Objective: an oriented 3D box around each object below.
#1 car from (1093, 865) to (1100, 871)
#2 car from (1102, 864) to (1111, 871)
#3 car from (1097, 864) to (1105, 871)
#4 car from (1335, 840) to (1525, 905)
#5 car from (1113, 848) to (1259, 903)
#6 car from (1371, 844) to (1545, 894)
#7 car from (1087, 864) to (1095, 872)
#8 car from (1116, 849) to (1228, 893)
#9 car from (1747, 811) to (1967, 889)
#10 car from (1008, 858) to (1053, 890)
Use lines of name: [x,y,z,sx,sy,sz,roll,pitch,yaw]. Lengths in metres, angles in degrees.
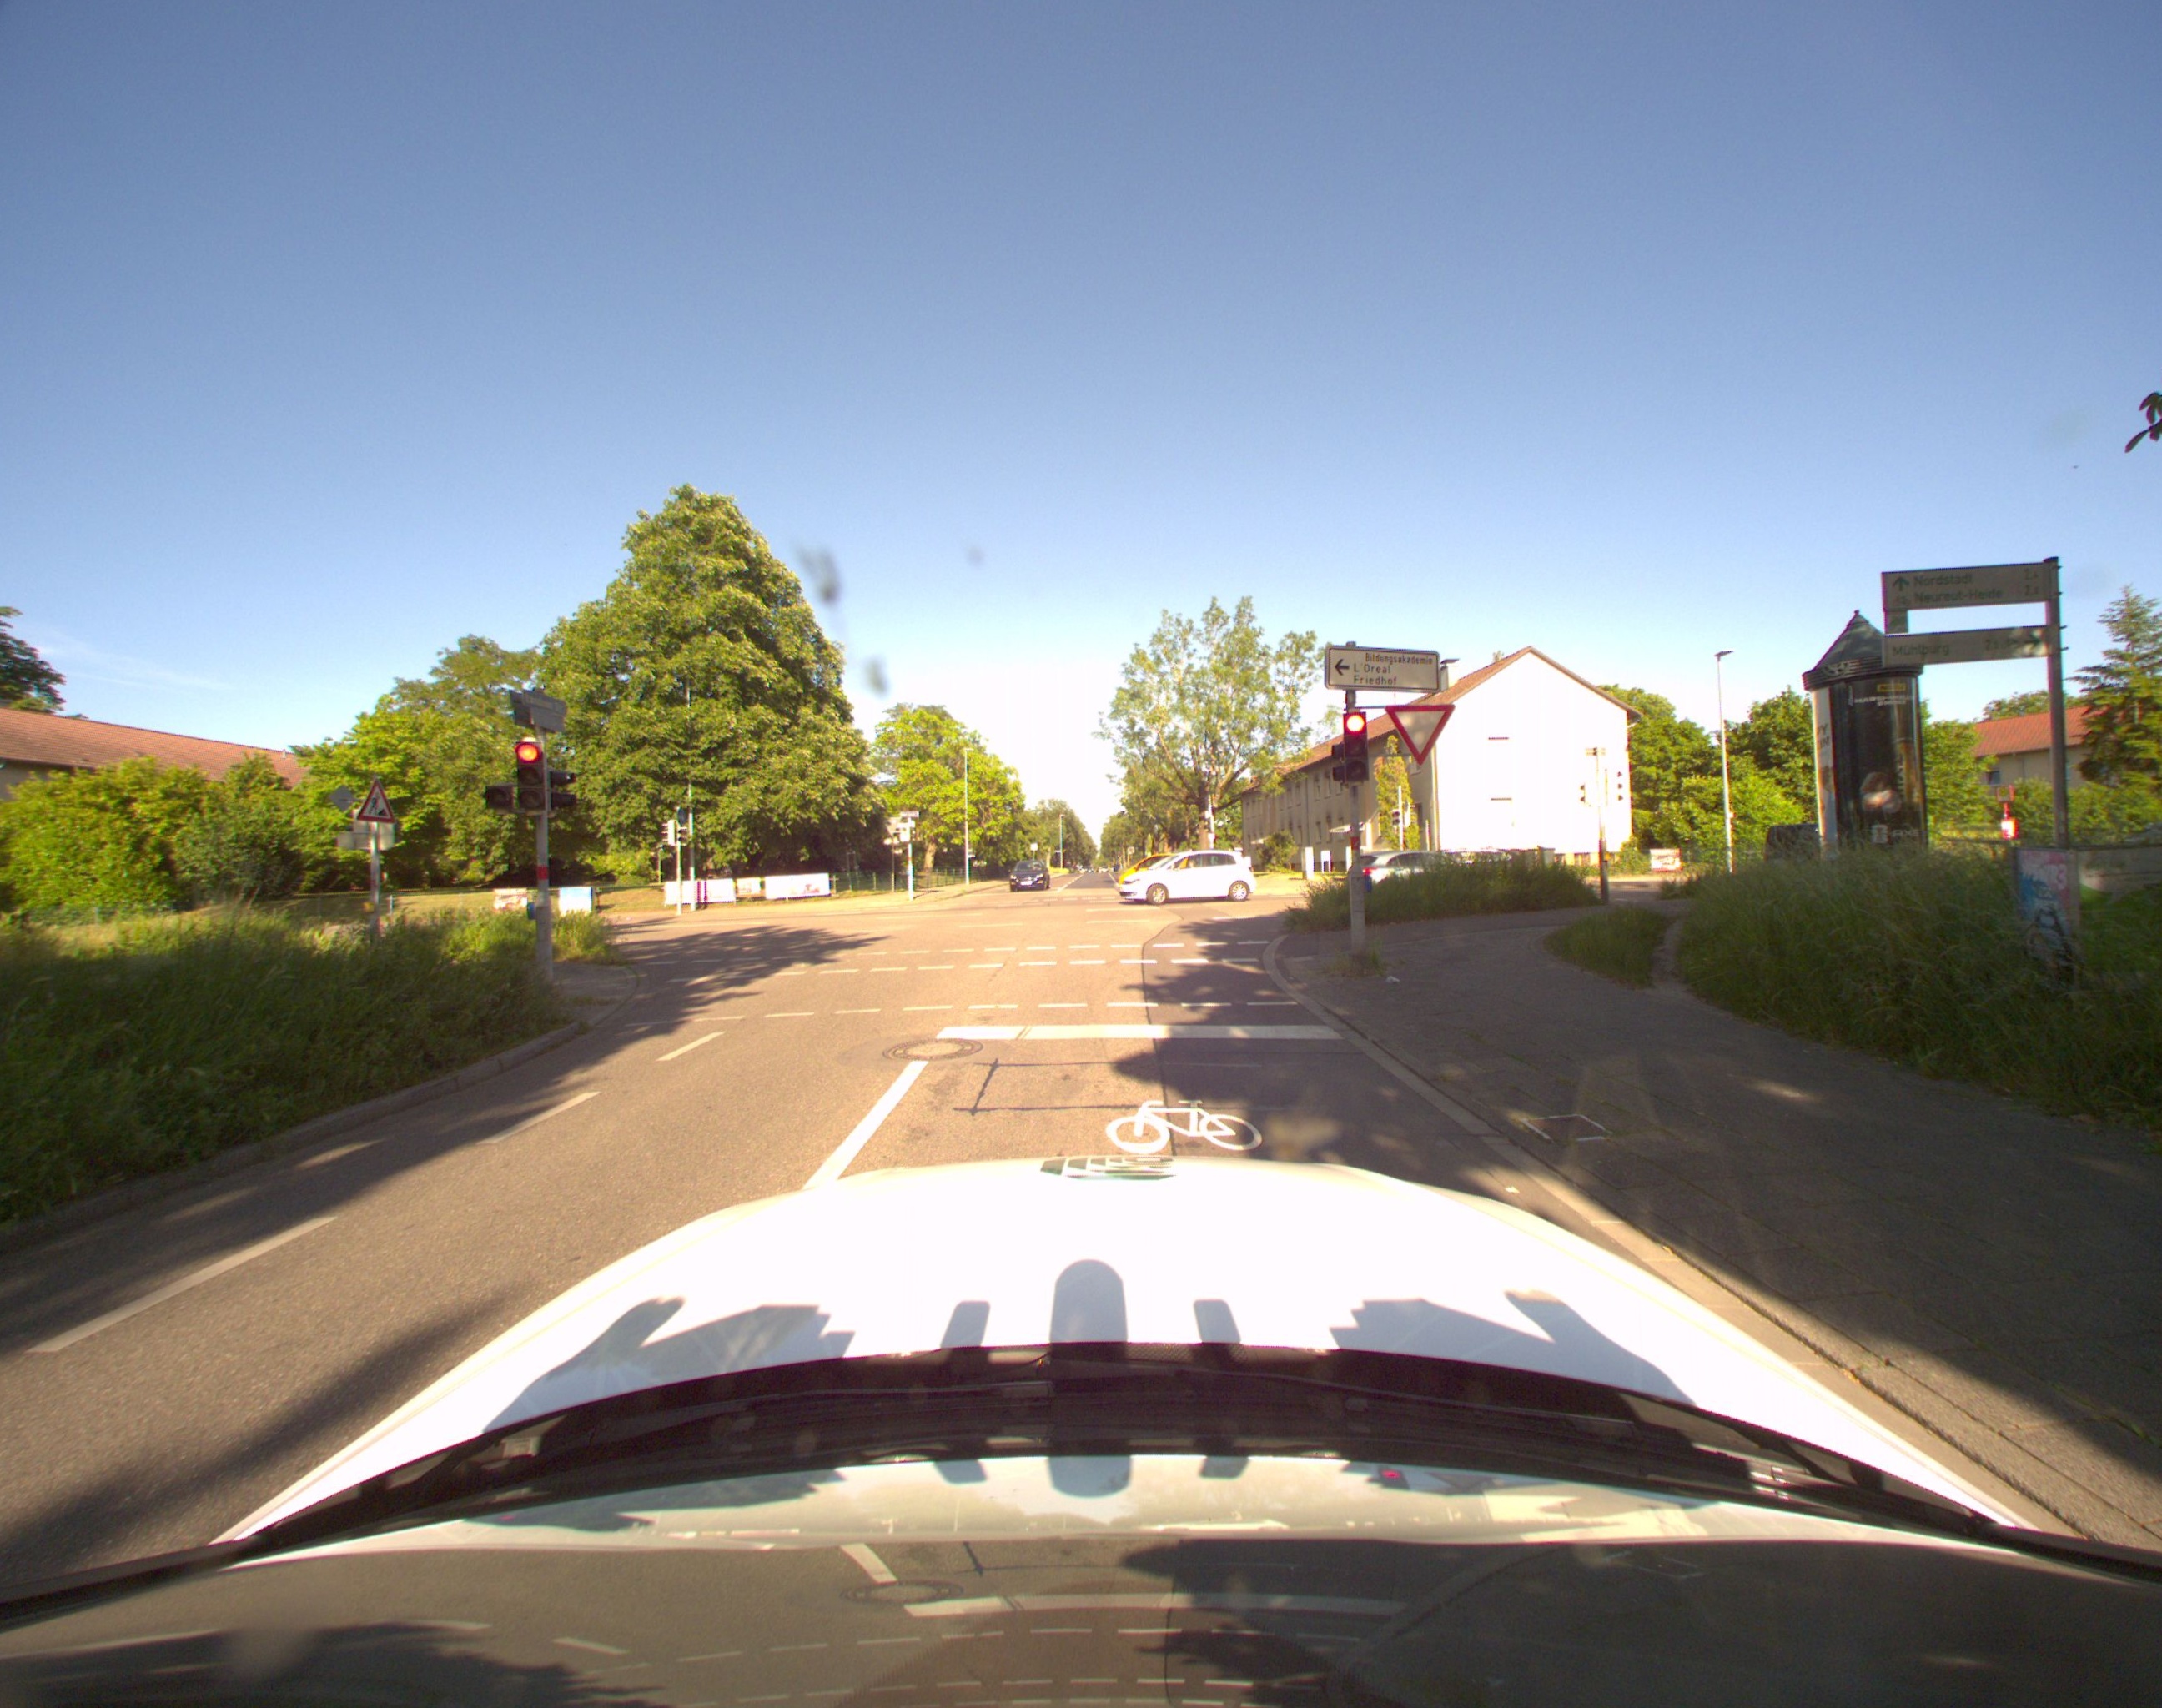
car: [4.453,3.996,228.080,1.751,1.624,3.271,-2,0,3]
car: [5.532,2.963,178.439,1.838,1.461,3.531,-2,0,1]
car: [5.046,3.477,206.750,1.751,1.624,3.271,-2,0,3]
car: [9.292,0.483,21.935,4.270,1.489,1.913,-2,0,-1]
car: [3.170,0.633,24.896,4.108,1.563,1.751,0,-1,-11]
car: [12.078,0.471,26.329,4.712,1.430,2.000,-2,0,0]
car: [2.204,3.126,180.755,1.751,1.624,3.271,-2,0,3]
car: [3.463,0.647,31.374,3.948,1.582,1.768,-1,-1,38]
car: [21.120,-0.114,22.268,4.334,1.887,1.858,-2,0,-3]
car: [-2.376,0.915,38.828,1.704,1.385,3.473,-2,0,3]
